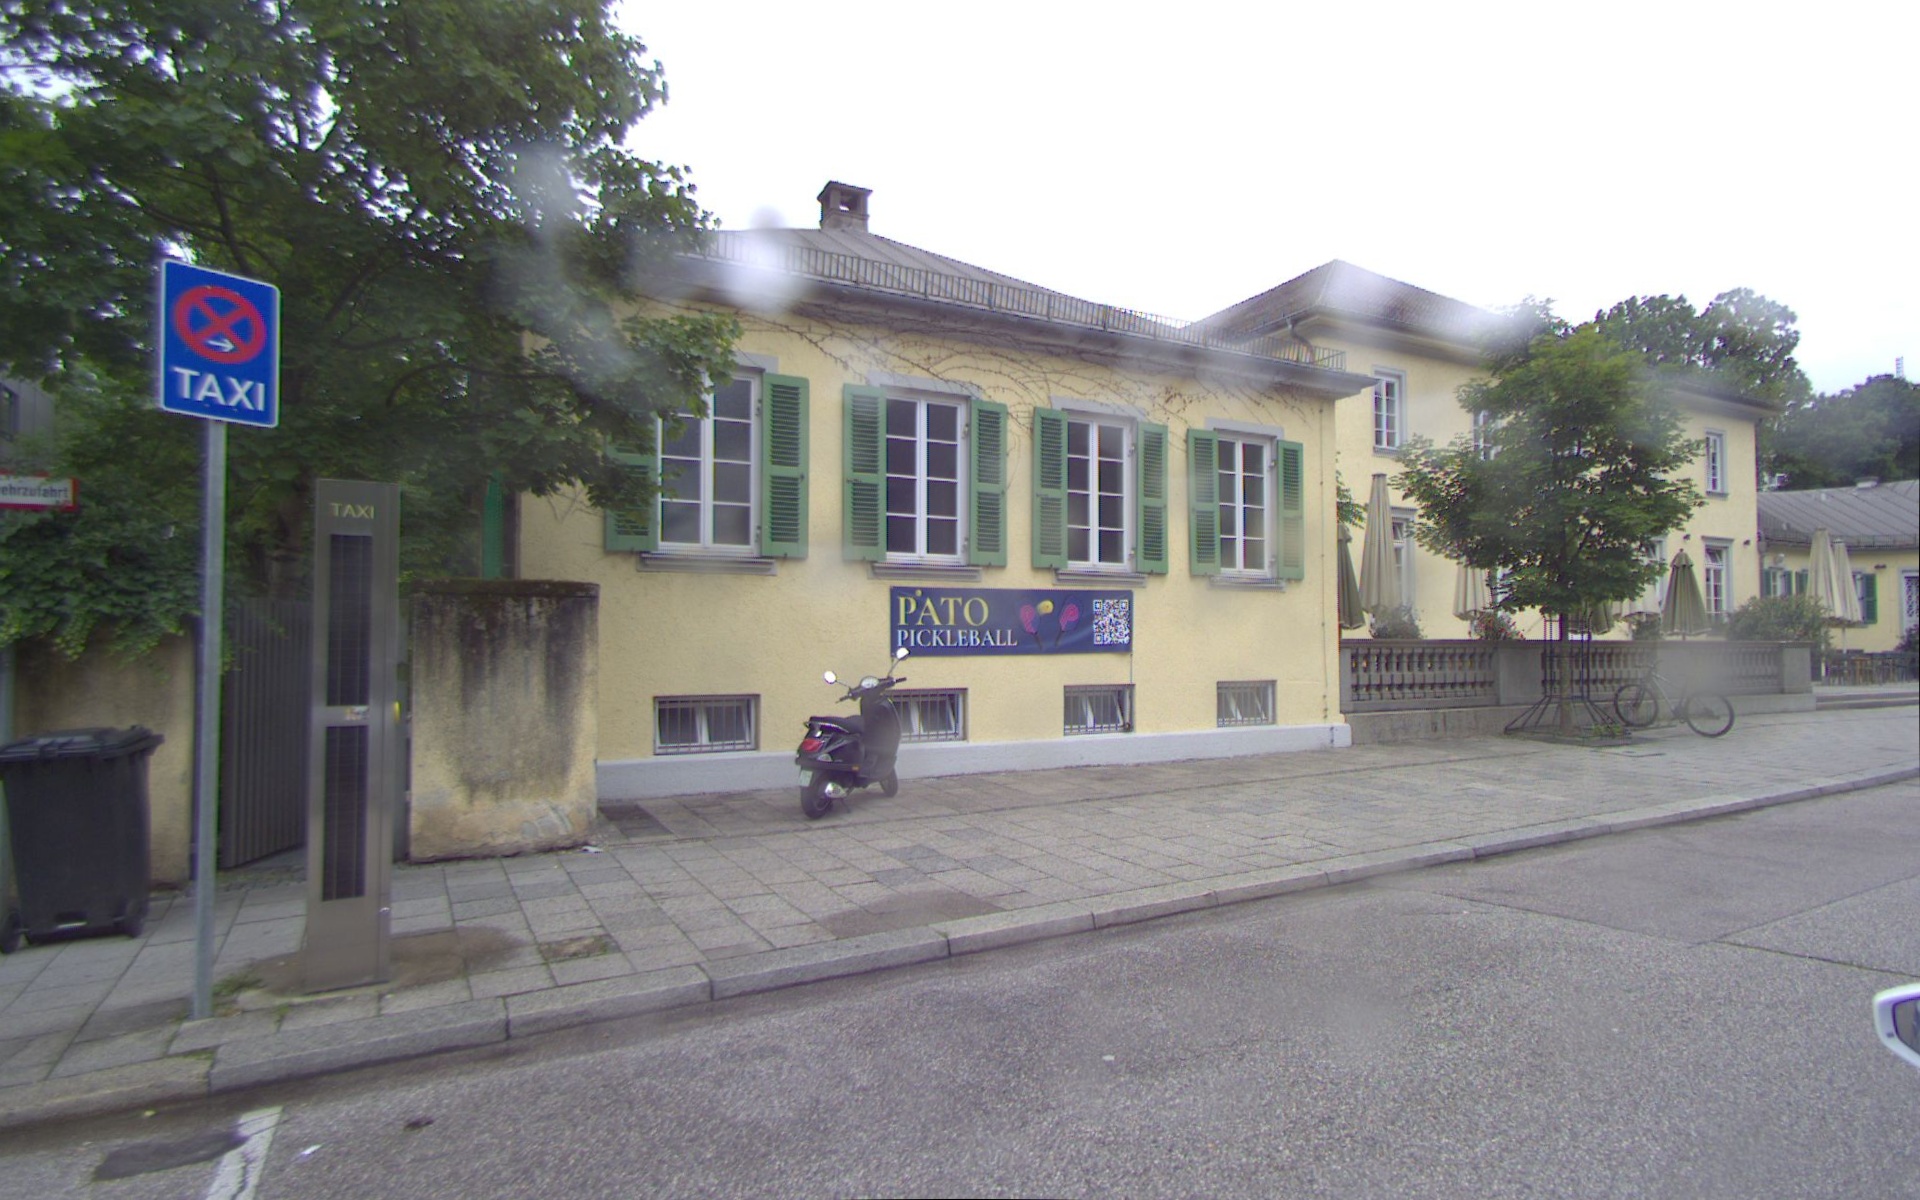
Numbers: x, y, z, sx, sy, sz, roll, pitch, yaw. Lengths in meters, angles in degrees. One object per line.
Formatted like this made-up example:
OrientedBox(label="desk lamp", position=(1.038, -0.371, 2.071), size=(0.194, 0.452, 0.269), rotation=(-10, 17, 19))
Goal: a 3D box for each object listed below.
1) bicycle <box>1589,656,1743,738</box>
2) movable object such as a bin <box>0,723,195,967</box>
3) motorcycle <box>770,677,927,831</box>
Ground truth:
OrientedBox(label="bicycle", position=(10.970, 1.475, 15.689), size=(0.607, 1.113, 1.924), rotation=(1, -1, -26))
OrientedBox(label="movable object such as a bin", position=(-4.702, 1.260, 5.406), size=(0.831, 1.077, 0.930), rotation=(1, -2, -32))
OrientedBox(label="motorcycle", position=(-0.933, 1.295, 8.935), size=(0.548, 1.115, 1.837), rotation=(0, -1, 23))
